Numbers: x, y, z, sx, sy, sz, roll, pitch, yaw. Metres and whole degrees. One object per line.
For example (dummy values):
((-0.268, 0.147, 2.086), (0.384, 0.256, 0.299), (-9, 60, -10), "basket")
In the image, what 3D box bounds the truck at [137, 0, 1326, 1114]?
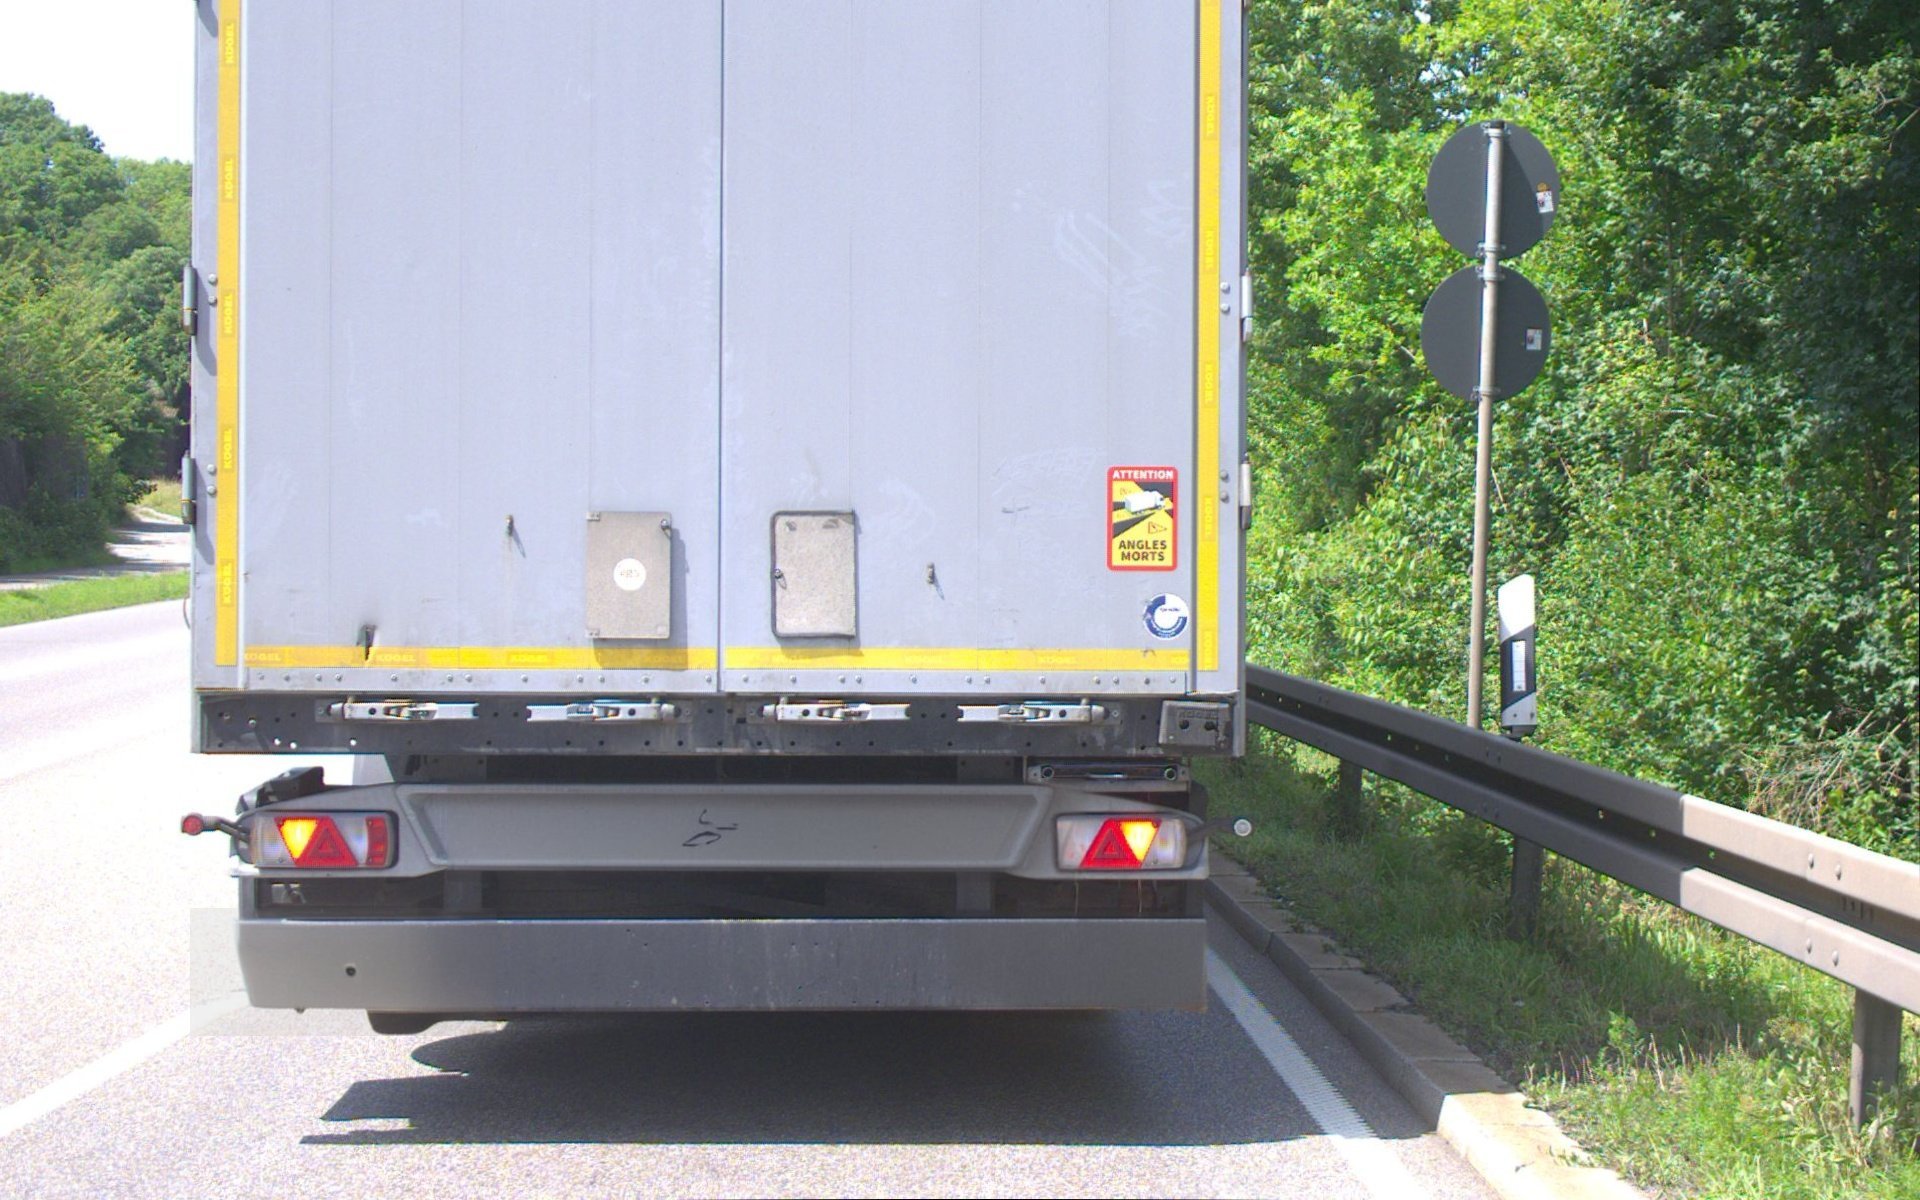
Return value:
((-0.670, -0.933, 13.975), (2.757, 4.016, 11.925), (0, 1, -1), "truck")
